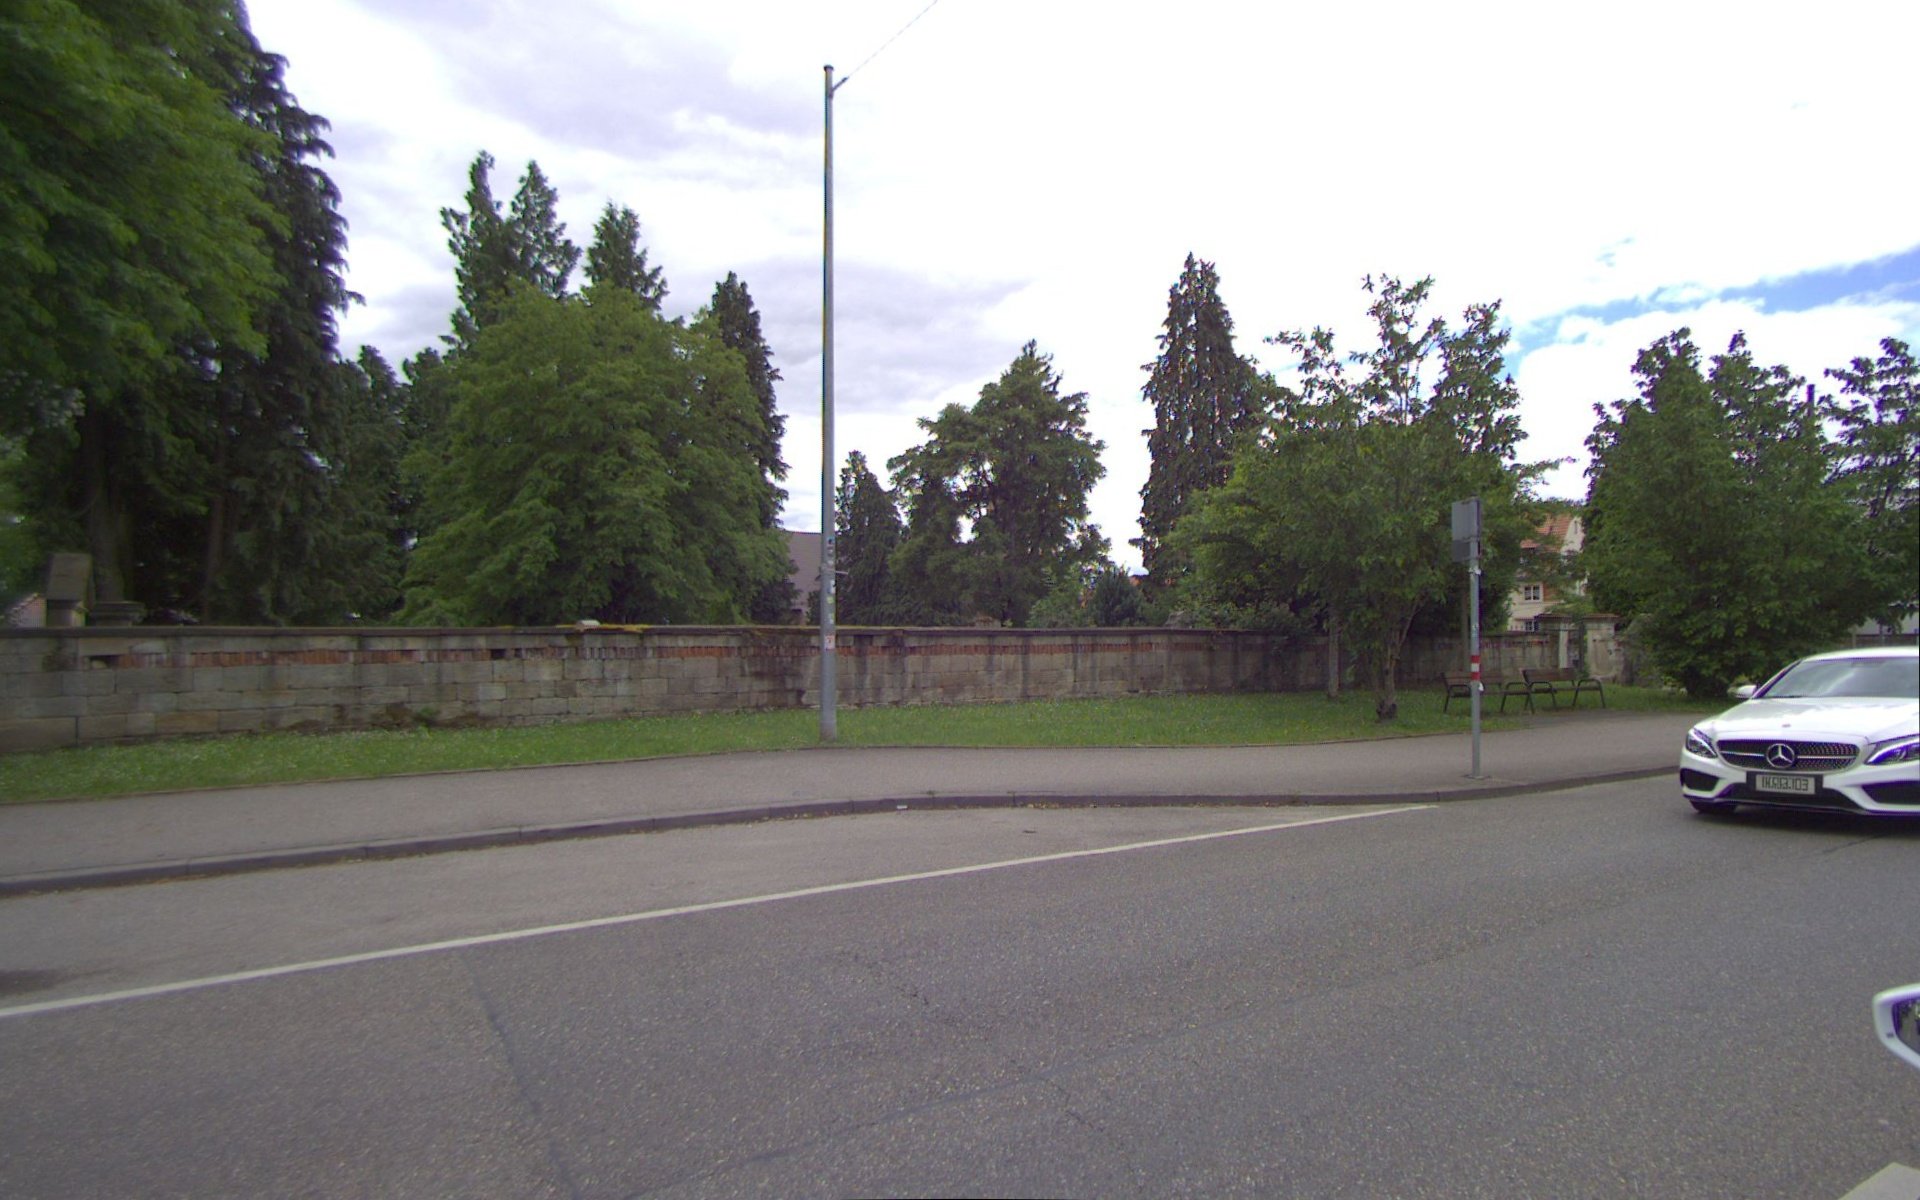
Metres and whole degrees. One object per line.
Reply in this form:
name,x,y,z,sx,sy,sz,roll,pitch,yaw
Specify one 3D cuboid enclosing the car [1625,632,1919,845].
car,8.085,1.064,8.813,4.772,1.437,1.807,2,-5,-31
